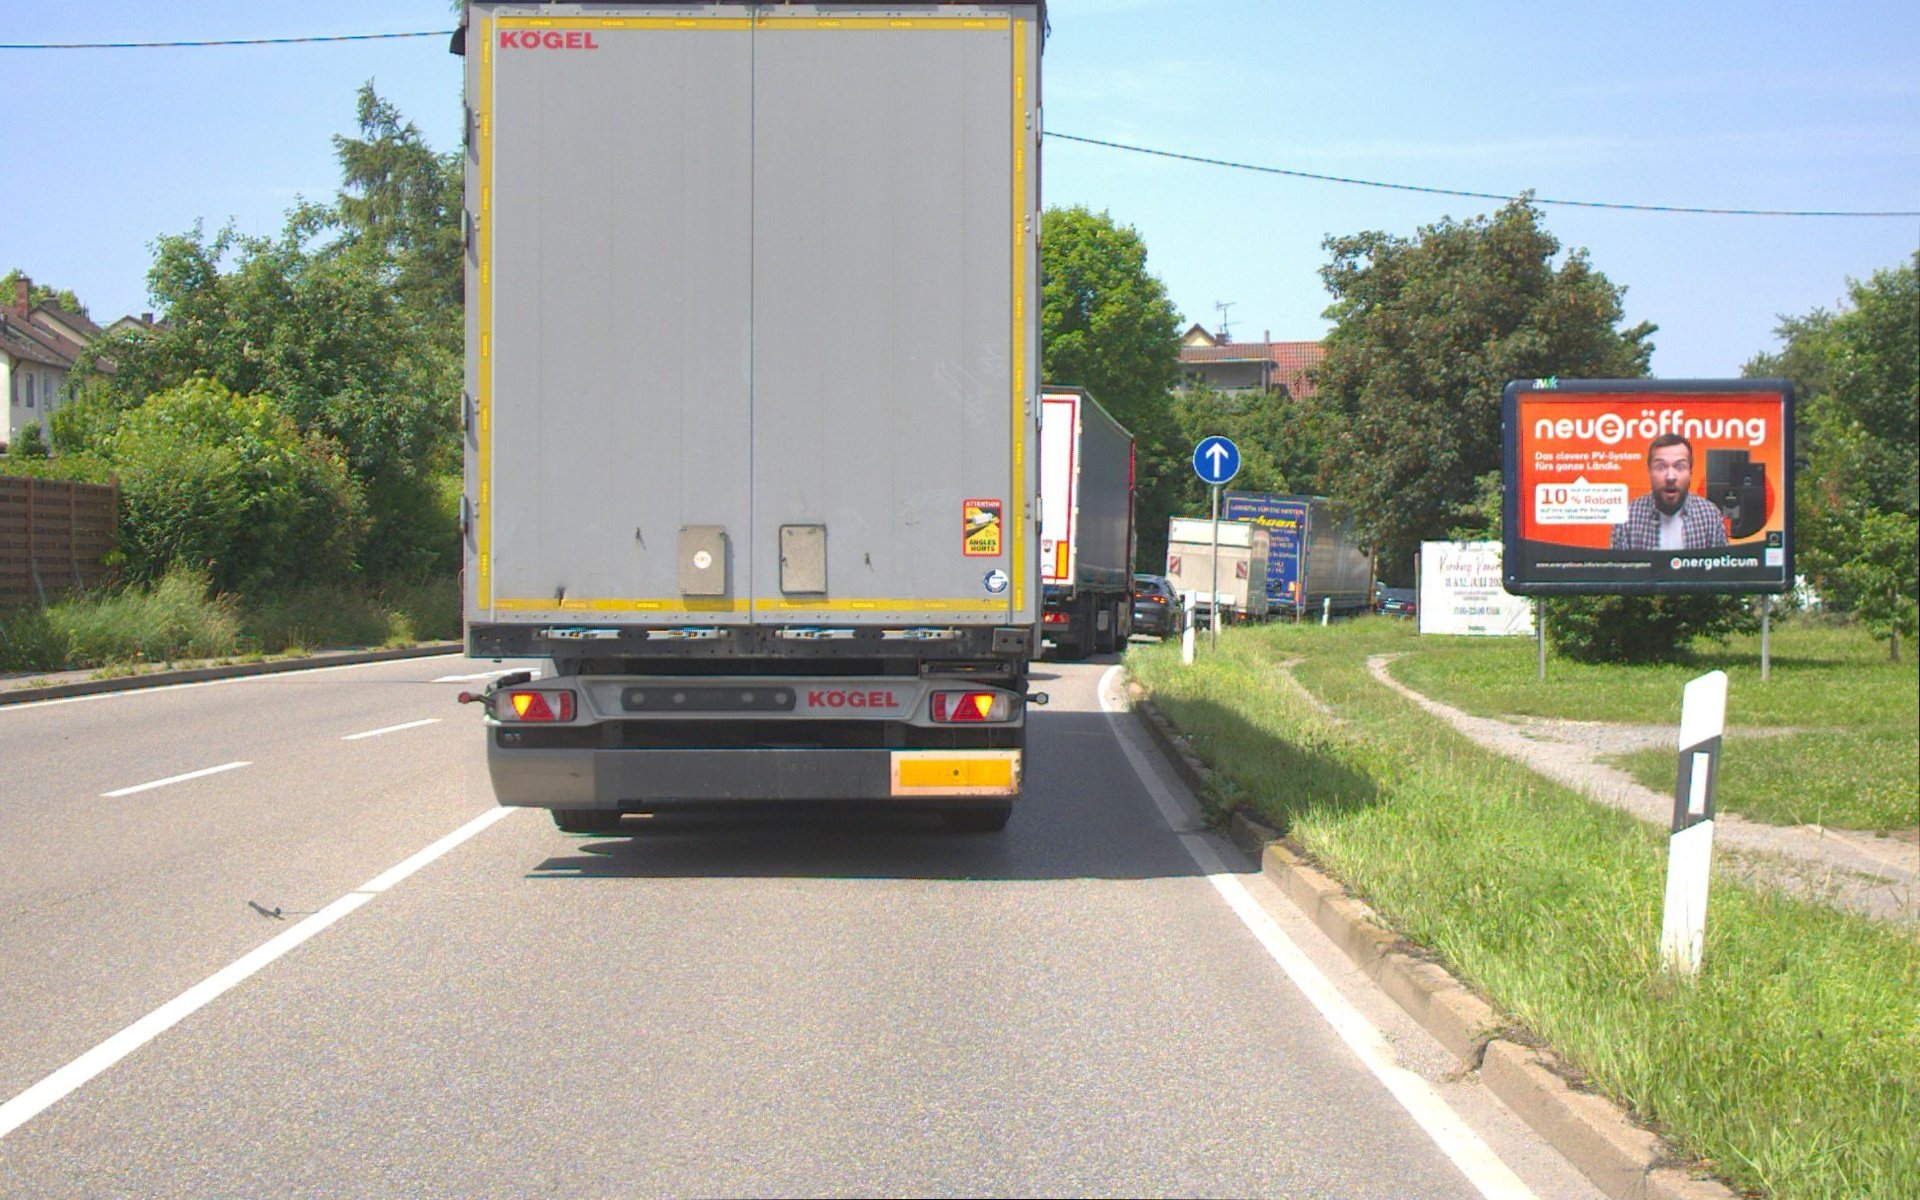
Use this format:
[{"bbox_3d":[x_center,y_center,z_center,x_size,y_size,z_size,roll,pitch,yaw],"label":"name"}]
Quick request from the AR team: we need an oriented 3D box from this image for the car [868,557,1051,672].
[{"bbox_3d":[0.037,0.175,43.121,1.819,1.342,3.846,1,0,7],"label":"car"}]

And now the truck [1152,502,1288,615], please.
[{"bbox_3d":[6.836,-1.041,89.793,2.545,2.793,6.028,1,0,14],"label":"truck"}]

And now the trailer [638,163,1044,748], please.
[{"bbox_3d":[-0.842,-1.076,27.530,2.825,4.097,6.544,1,1,0],"label":"trailer"}]

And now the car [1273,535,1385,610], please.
[{"bbox_3d":[11.814,-0.894,109.658,2.533,2.269,6.376,1,1,15],"label":"car"}]

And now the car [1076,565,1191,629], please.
[{"bbox_3d":[3.955,-0.070,77.765,1.994,1.371,3.998,1,0,11],"label":"car"}]

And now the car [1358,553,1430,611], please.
[{"bbox_3d":[15.537,-0.638,123.008,1.995,2.007,3.997,1,0,15],"label":"car"}]

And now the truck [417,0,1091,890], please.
[{"bbox_3d":[-0.868,-0.947,20.436,2.822,4.113,11.444,1,1,0],"label":"truck"}]

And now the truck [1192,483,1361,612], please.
[{"bbox_3d":[9.425,-1.569,101.384,3.435,3.592,9.347,1,1,15],"label":"truck"}]

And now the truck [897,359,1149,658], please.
[{"bbox_3d":[1.351,-1.328,57.823,2.761,4.274,16.411,1,0,6],"label":"truck"}]
